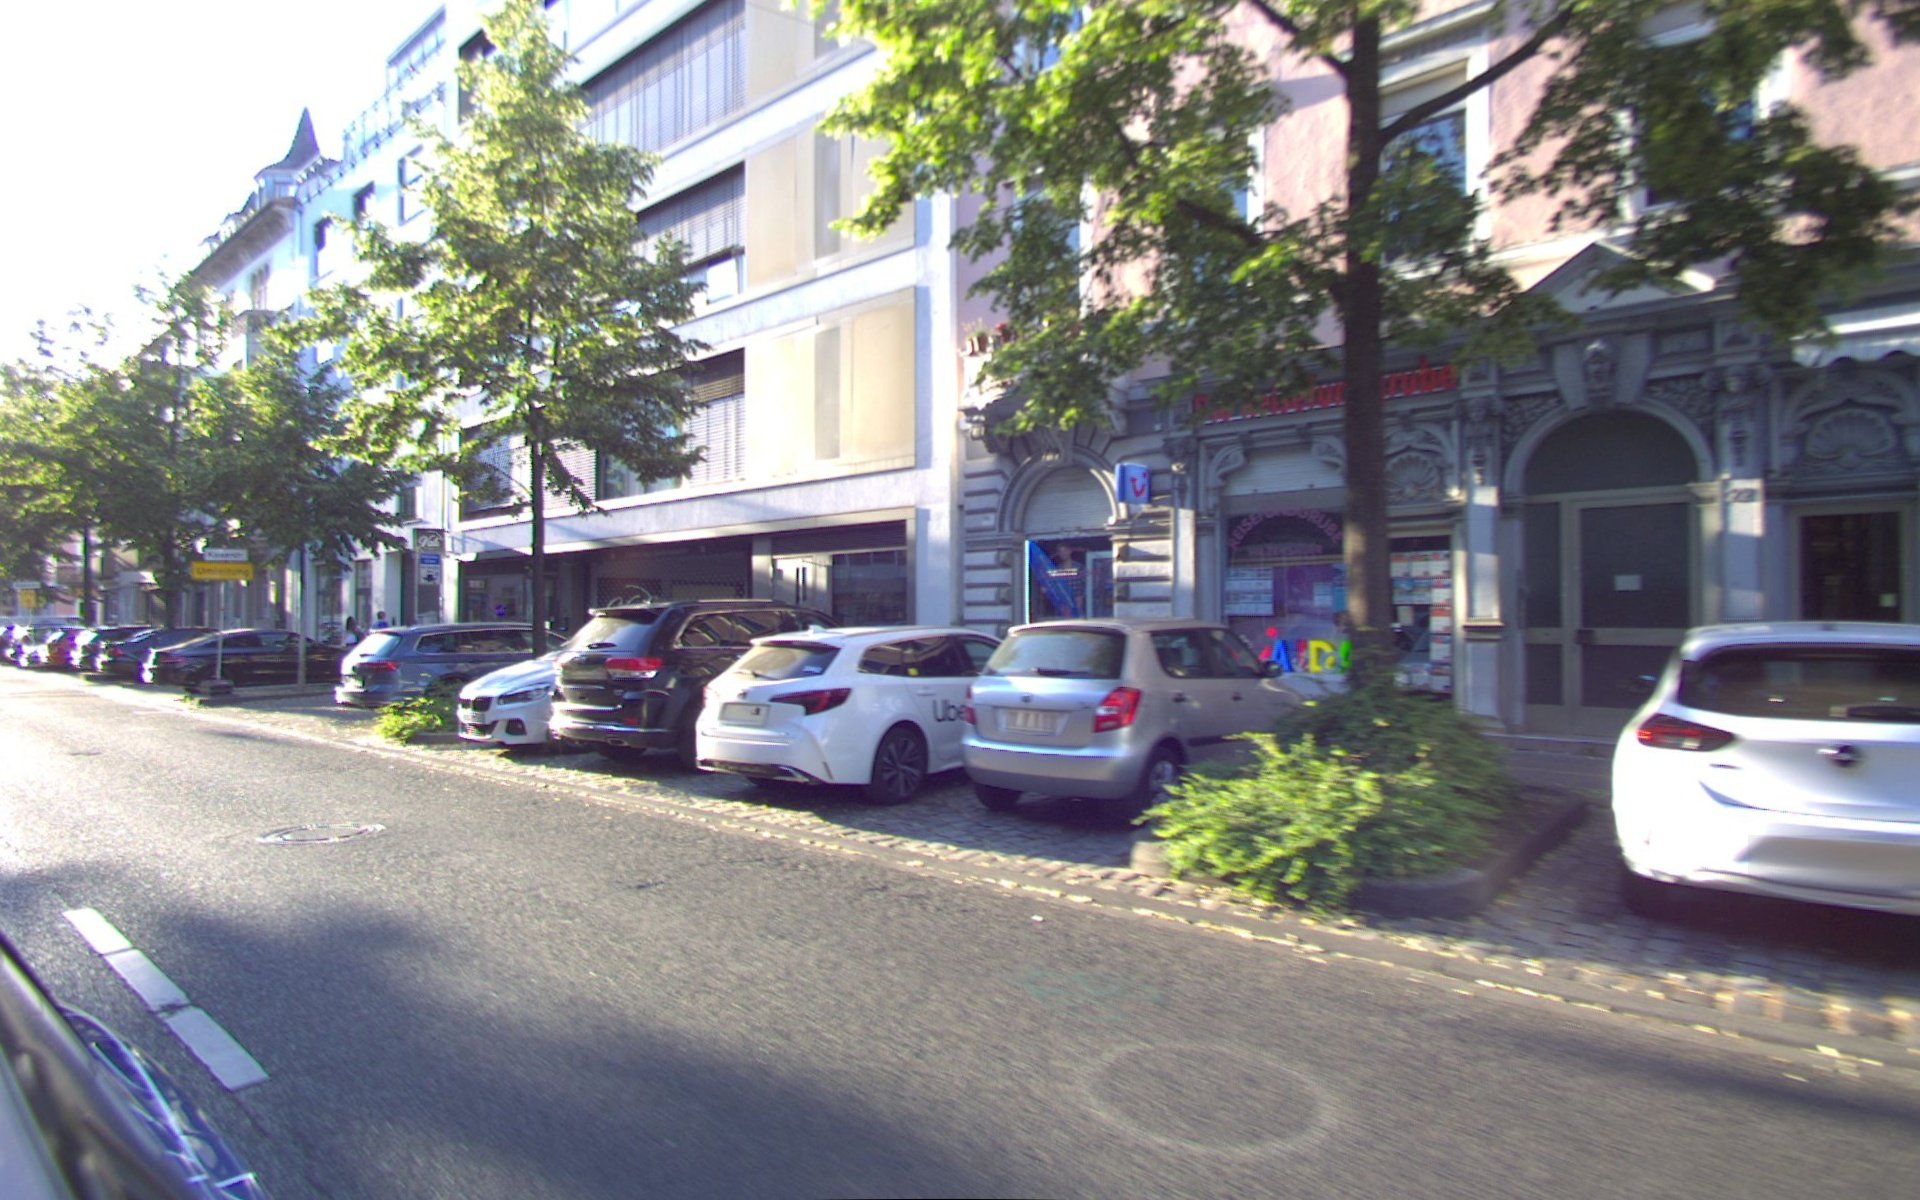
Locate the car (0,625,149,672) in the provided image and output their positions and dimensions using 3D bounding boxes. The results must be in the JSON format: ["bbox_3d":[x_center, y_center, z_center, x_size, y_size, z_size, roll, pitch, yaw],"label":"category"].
[{"bbox_3d":[-33.171,1.761,37.996,4.134,1.548,1.745,-1,0,-44],"label":"car"}]

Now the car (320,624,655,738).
[{"bbox_3d":[-7.286,1.154,16.013,1.743,1.495,4.501,-2,-2,40],"label":"car"}]

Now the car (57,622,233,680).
[{"bbox_3d":[-24.305,1.475,30.293,1.742,1.579,3.829,-2,-1,38],"label":"car"}]

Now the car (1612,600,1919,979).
[{"bbox_3d":[4.765,0.738,5.443,1.803,1.455,3.703,-1,-1,37],"label":"car"}]

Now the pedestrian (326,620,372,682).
[{"bbox_3d":[-16.482,1.358,27.304,1.094,1.614,0.712,-2,0,41],"label":"pedestrian"}]

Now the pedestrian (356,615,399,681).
[{"bbox_3d":[-15.963,1.302,27.741,0.933,1.762,0.712,-2,0,41],"label":"pedestrian"}]

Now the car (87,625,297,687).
[{"bbox_3d":[-20.673,1.461,27.388,1.742,1.495,4.234,-2,-1,38],"label":"car"}]

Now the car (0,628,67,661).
[{"bbox_3d":[-47.009,2.203,49.785,1.813,1.536,4.384,-2,-1,39],"label":"car"}]

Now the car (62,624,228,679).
[{"bbox_3d":[-25.856,1.590,32.191,1.742,1.579,3.829,-2,-1,38],"label":"car"}]

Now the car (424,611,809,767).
[{"bbox_3d":[-4.215,0.989,13.024,1.888,1.608,4.362,-2,-1,39],"label":"car"}]

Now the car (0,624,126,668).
[{"bbox_3d":[-36.791,1.842,41.245,1.732,1.681,4.138,-1,-1,42],"label":"car"}]

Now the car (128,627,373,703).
[{"bbox_3d":[-15.825,1.381,22.763,1.743,1.495,4.230,-2,-2,40],"label":"car"}]

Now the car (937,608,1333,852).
[{"bbox_3d":[1.600,0.848,8.327,1.714,1.513,3.521,-1,-1,39],"label":"car"}]

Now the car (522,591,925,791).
[{"bbox_3d":[-2.429,0.824,11.280,1.887,1.786,4.110,-1,-1,38],"label":"car"}]

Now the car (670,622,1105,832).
[{"bbox_3d":[-0.450,0.961,9.459,1.764,1.432,4.110,-1,-1,38],"label":"car"}]

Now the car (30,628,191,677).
[{"bbox_3d":[-28.077,1.693,33.554,1.742,1.468,3.829,-2,-1,38],"label":"car"}]

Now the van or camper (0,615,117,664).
[{"bbox_3d":[-38.977,1.653,43.182,1.789,1.971,4.411,-2,-2,42],"label":"van or camper"}]

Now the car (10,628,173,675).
[{"bbox_3d":[-29.901,1.743,34.944,1.741,1.397,4.004,-2,-1,37],"label":"car"}]
